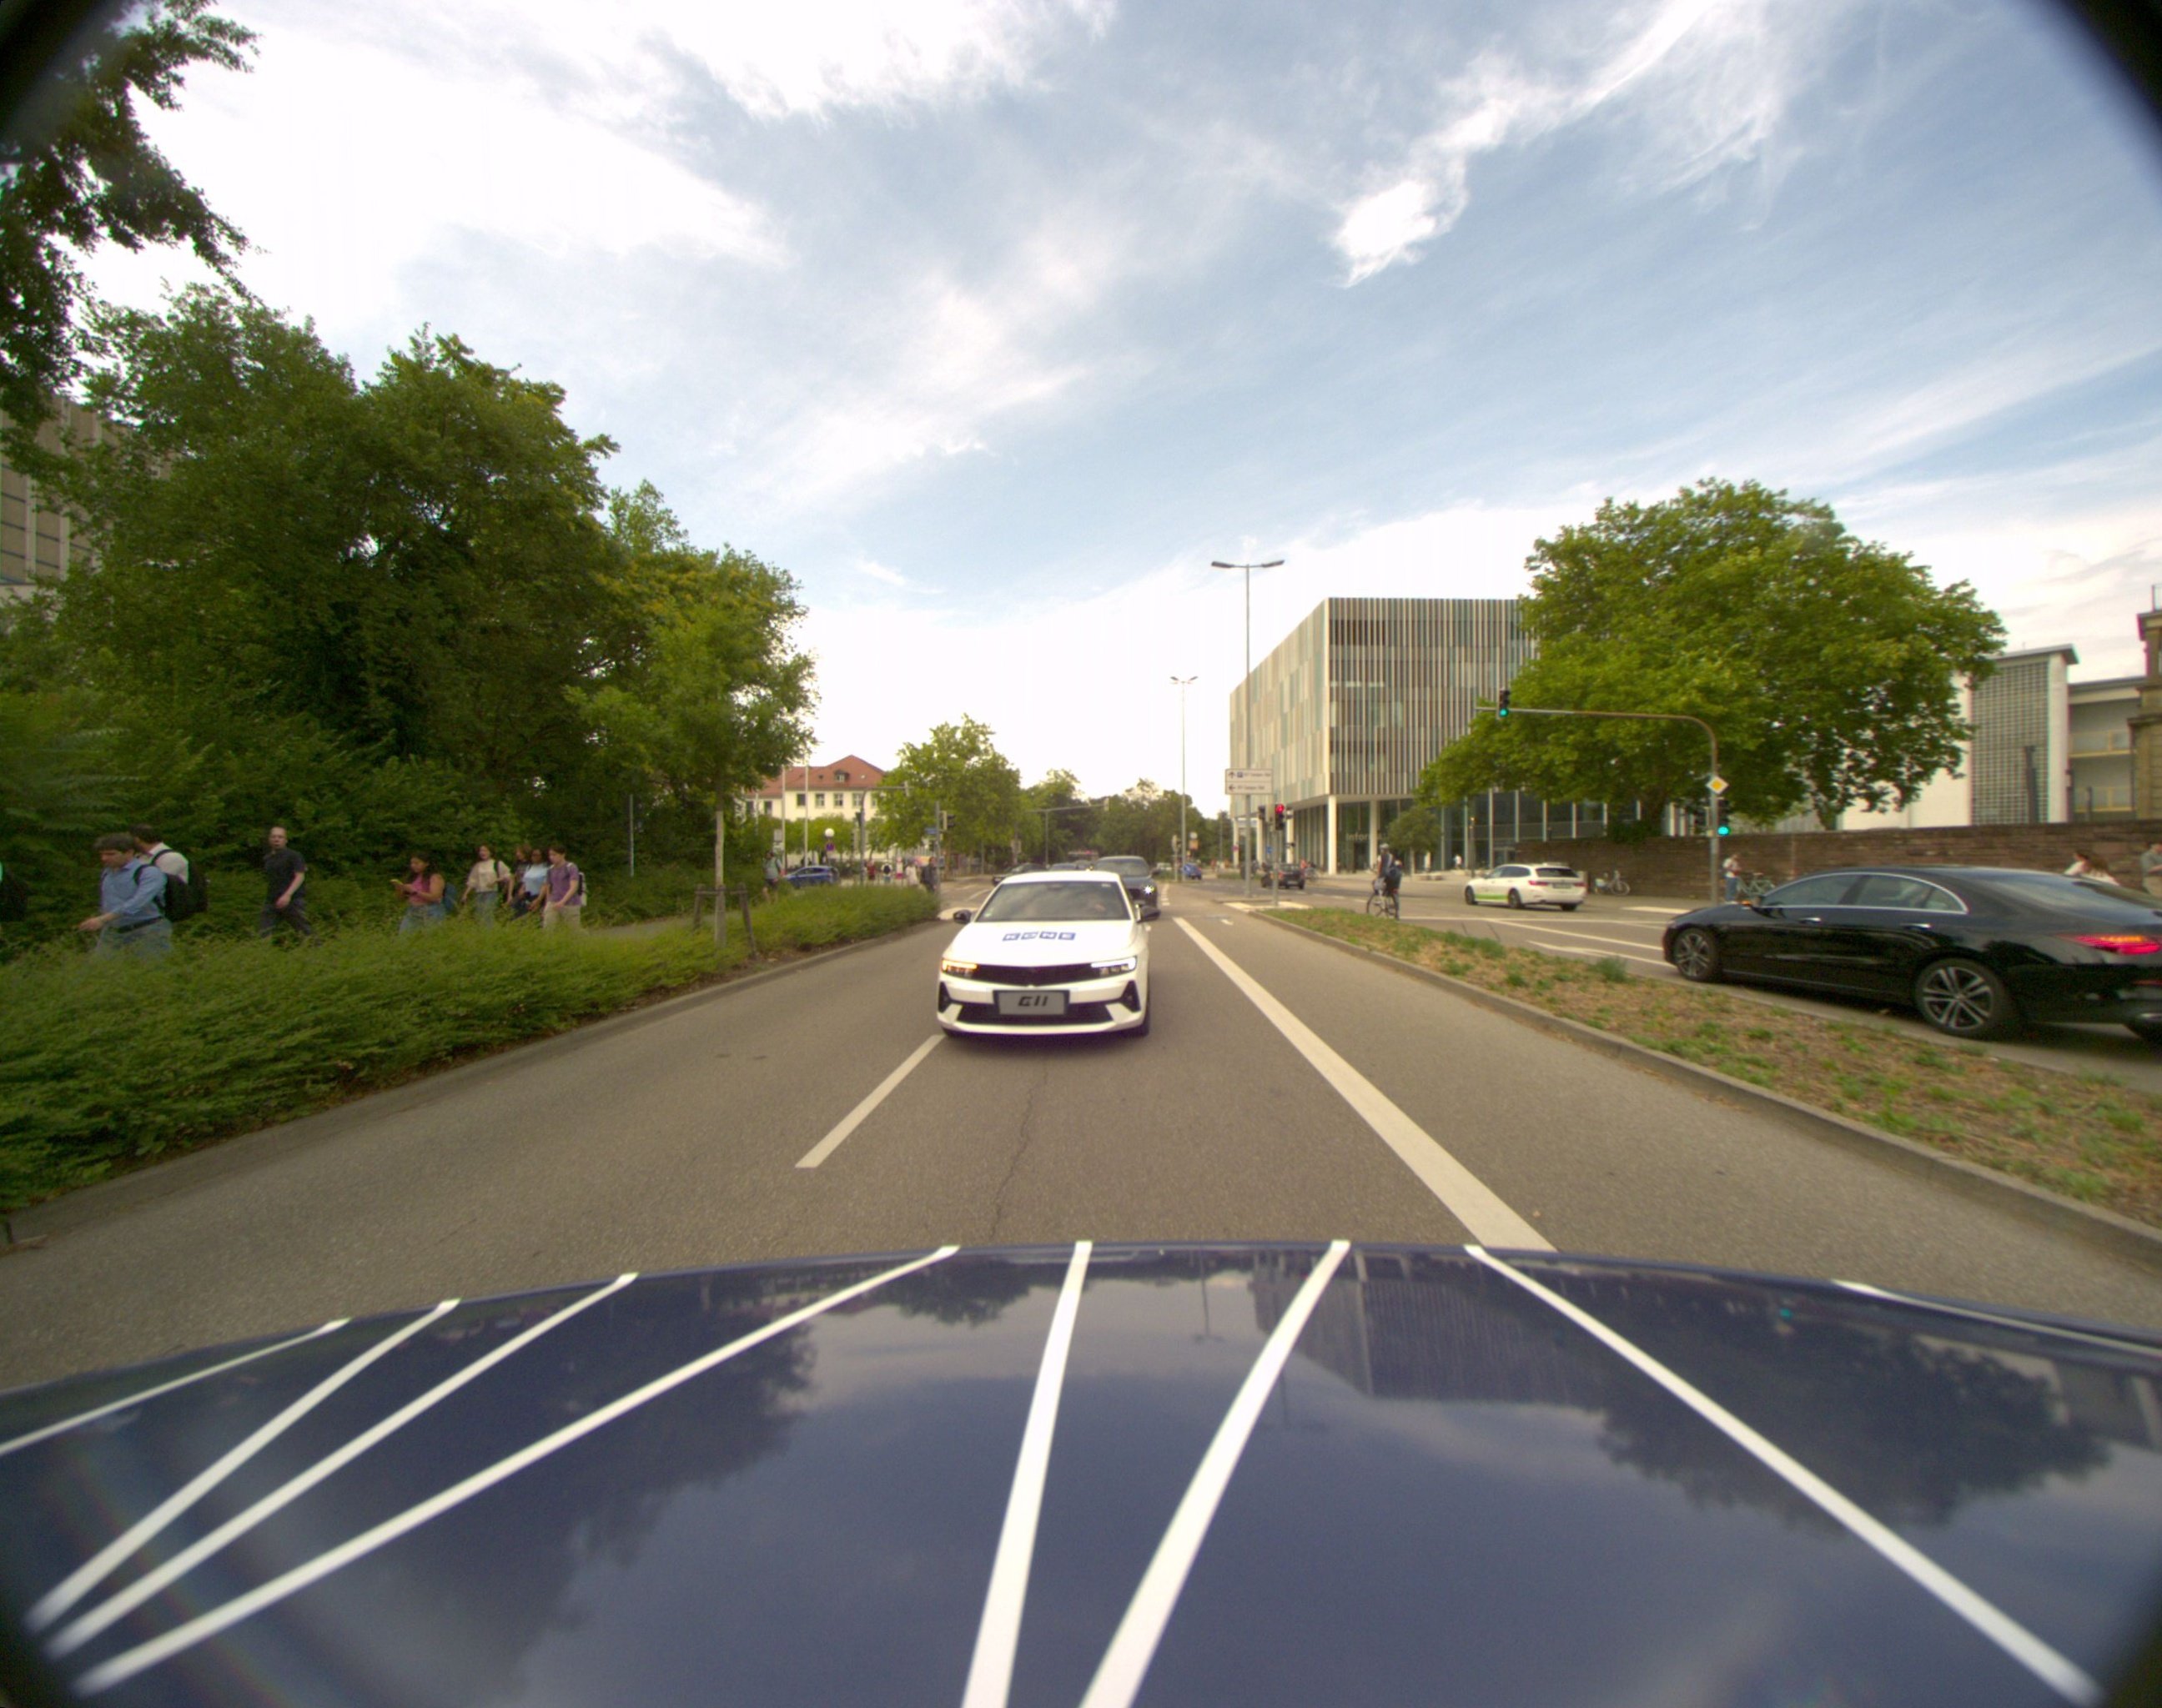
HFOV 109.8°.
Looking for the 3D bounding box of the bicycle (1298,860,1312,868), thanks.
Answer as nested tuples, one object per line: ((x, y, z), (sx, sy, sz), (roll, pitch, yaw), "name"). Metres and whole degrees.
((26.526, 1.173, 89.834), (1.546, 0.932, 0.389), (-2, 0, -6), "bicycle")

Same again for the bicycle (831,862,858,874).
((-23.299, 1.345, 74.909), (2.472, 1.136, 0.718), (-1, 0, 1), "bicycle")

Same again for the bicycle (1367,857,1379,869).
((28.364, 0.872, 73.790), (1.549, 1.023, 0.393), (-2, 0, -38), "bicycle")

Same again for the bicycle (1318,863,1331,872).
((25.207, 1.404, 78.653), (1.613, 0.932, 0.393), (-2, 0, -34), "bicycle")

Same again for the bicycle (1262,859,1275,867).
((25.162, 1.184, 101.830), (1.582, 1.017, 0.389), (-2, 0, -6), "bicycle")

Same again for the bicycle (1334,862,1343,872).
((26.001, 1.316, 76.715), (0.393, 0.932, 1.601), (-2, 0, 33), "bicycle")

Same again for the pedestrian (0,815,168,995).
((-9.859, 0.484, 7.536), (0.658, 1.689, 0.780), (0, 0, 1), "pedestrian")

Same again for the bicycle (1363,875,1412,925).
((7.128, 1.039, 17.748), (0.574, 1.049, 1.927), (0, 0, 6), "bicycle")

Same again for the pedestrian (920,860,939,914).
((-4.912, 1.045, 24.624), (0.455, 1.725, 0.637), (0, 0, 0), "pedestrian")

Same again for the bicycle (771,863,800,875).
((-28.488, 1.410, 73.246), (2.472, 1.136, 0.718), (-1, 0, 1), "bicycle")

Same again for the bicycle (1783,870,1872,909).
((22.182, 1.045, 22.625), (0.550, 1.052, 1.980), (-3, 0, -4), "bicycle")

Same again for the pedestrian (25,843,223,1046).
((-8.170, 0.729, 6.527), (0.658, 1.638, 0.812), (0, 0, 1), "pedestrian")

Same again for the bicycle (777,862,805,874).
((-28.491, 1.406, 74.568), (2.472, 1.136, 0.718), (-1, 0, 1), "bicycle")

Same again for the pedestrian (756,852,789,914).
((-8.979, 0.833, 22.114), (0.646, 1.785, 0.740), (0, 0, 0), "pedestrian")

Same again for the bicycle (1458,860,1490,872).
((34.343, 1.033, 66.377), (2.684, 0.993, 0.672), (0, 0, -16), "bicycle")

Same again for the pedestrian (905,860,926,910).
((-5.673, 1.060, 26.076), (0.547, 1.677, 0.637), (0, 0, 0), "pedestrian")

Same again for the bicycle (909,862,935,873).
((-16.235, 1.405, 77.695), (2.472, 1.136, 0.718), (-1, 0, 1), "bicycle")

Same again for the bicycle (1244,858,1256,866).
((24.981, 1.184, 112.206), (1.704, 1.017, 0.434), (-2, 0, -6), "bicycle")

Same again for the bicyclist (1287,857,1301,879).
((16.560, 1.093, 59.116), (0.729, 1.663, 0.723), (-2, 1, -14), "bicyclist")

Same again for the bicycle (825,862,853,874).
((-23.314, 1.372, 73.280), (2.472, 1.136, 0.718), (-1, 0, 1), "bicycle")

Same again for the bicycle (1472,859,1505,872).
((34.503, 0.978, 64.294), (2.684, 1.083, 0.796), (0, 0, -16), "bicycle")

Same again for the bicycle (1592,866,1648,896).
((21.404, 1.046, 30.246), (0.579, 1.119, 2.165), (-3, 0, -2), "bicycle")

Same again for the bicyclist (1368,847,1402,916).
((7.073, 0.631, 17.685), (0.573, 1.564, 0.699), (0, 0, 7), "bicyclist")

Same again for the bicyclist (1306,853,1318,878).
((16.915, 0.855, 55.623), (0.602, 1.796, 0.561), (0, 0, -15), "bicyclist")

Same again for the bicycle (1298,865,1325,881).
((16.864, 1.370, 55.635), (1.896, 1.163, 0.606), (0, 0, -16), "bicycle")

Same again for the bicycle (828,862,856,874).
((-23.303, 1.406, 74.113), (2.472, 1.136, 0.718), (-1, 0, 1), "bicycle")

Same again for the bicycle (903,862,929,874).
((-16.434, 1.385, 75.629), (2.472, 1.136, 0.718), (-1, 0, 1), "bicycle")

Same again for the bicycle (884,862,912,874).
((-17.213, 1.307, 71.551), (2.472, 1.136, 0.718), (-1, 0, 1), "bicycle")

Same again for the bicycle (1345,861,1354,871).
((26.881, 1.230, 76.057), (0.393, 0.932, 1.601), (-2, 0, 33), "bicycle")

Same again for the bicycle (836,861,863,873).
((-23.278, 1.324, 76.544), (2.472, 1.136, 0.718), (-1, 0, 1), "bicycle")

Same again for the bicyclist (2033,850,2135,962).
((16.431, 0.831, 12.473), (0.619, 1.772, 0.811), (0, 0, 7), "bicyclist")

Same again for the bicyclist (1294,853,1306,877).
((16.548, 0.806, 57.336), (0.602, 1.796, 0.561), (-2, 1, -14), "bicyclist")

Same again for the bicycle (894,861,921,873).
((-17.027, 1.279, 74.596), (2.472, 1.136, 0.718), (-1, 0, 1), "bicycle")

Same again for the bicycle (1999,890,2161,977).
((16.424, 1.242, 12.394), (0.620, 1.210, 2.046), (0, 0, 7), "bicycle")

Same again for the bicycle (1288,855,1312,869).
((16.548, 0.580, 57.347), (1.693, 0.983, 0.571), (-2, 1, -14), "bicycle")
